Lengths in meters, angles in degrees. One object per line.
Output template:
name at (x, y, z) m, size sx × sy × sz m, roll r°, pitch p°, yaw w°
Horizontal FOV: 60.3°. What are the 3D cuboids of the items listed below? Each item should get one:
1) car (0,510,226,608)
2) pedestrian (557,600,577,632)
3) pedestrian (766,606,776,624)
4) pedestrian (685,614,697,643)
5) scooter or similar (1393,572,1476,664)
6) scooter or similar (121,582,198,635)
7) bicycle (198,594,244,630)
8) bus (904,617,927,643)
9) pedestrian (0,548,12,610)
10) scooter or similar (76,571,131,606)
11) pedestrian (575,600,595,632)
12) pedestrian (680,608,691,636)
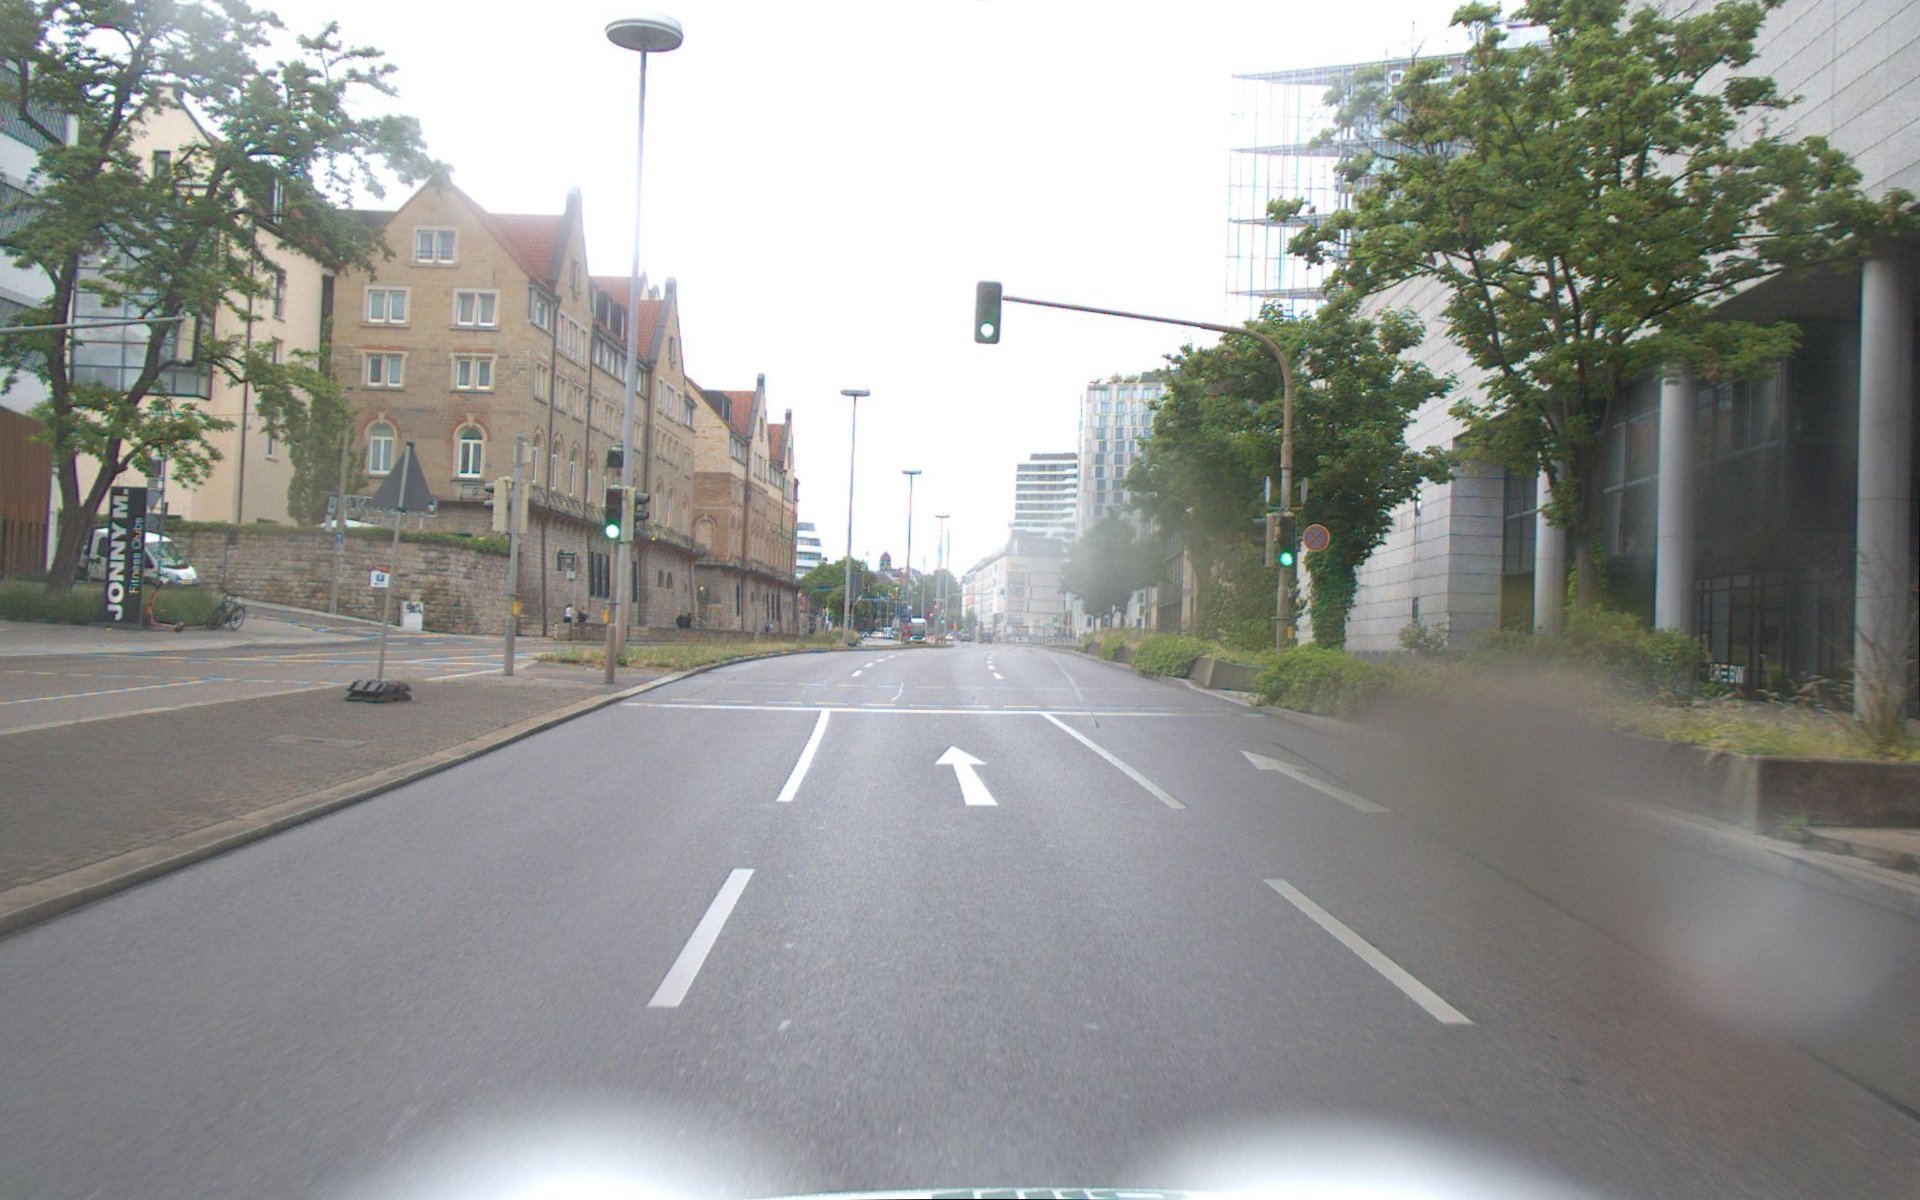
car at (-28.962, -1.422, 56.163) m, size 6.764 × 2.313 × 2.516 m, roll 8°, pitch 3°, yaw 3°
pedestrian at (-18.771, 0.748, 78.987) m, size 0.738 × 1.504 × 0.714 m, roll 1°, pitch 0°, yaw 1°
pedestrian at (-16.154, 1.257, 141.277) m, size 0.738 × 1.504 × 0.714 m, roll 1°, pitch 0°, yaw 1°
pedestrian at (-16.939, 1.781, 104.131) m, size 0.627 × 1.776 × 0.621 m, roll 1°, pitch 0°, yaw 0°
scooter or similar at (8.439, 0.314, 29.431) m, size 1.295 × 1.557 × 0.503 m, roll 2°, pitch 0°, yaw 4°
scooter or similar at (-21.264, 0.230, 43.960) m, size 1.729 × 1.269 × 0.367 m, roll 5°, pitch -2°, yaw -28°
bicycle at (-21.469, 0.365, 48.086) m, size 0.447 × 1.008 × 1.759 m, roll 2°, pitch -1°, yaw 2°
bus at (-6.219, 4.247, 234.479) m, size 2.642 × 3.622 × 10.094 m, roll 1°, pitch -1°, yaw 2°
pedestrian at (-26.190, -0.562, 44.583) m, size 0.752 × 1.670 × 0.842 m, roll 1°, pitch 0°, yaw 1°
scooter or similar at (-27.323, -0.366, 52.766) m, size 1.439 × 0.937 × 0.444 m, roll 6°, pitch 0°, yaw 0°
pedestrian at (-17.921, 0.754, 79.007) m, size 0.738 × 1.504 × 0.714 m, roll 1°, pitch 0°, yaw 1°
pedestrian at (-17.588, 1.378, 105.937) m, size 0.627 × 1.776 × 0.621 m, roll 1°, pitch 0°, yaw 0°
